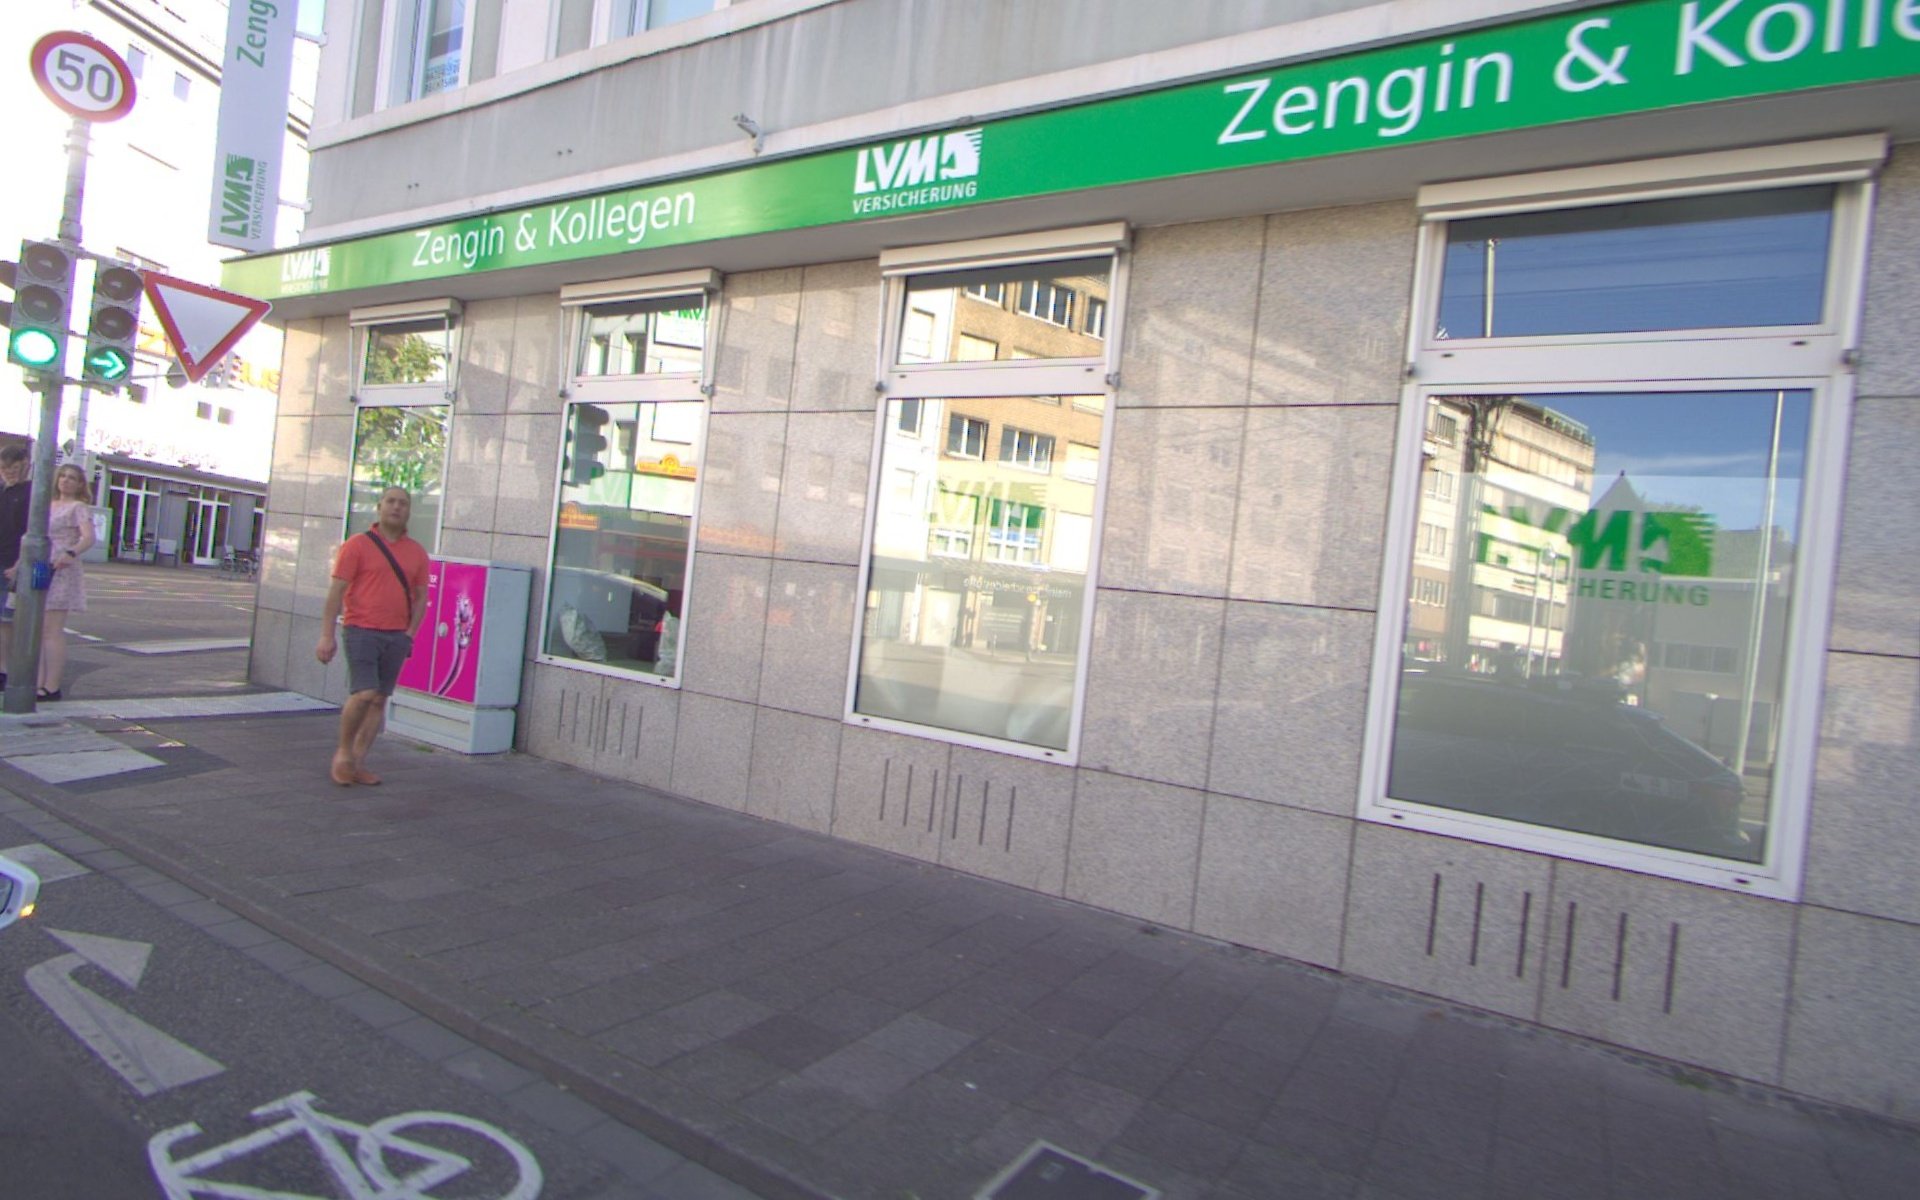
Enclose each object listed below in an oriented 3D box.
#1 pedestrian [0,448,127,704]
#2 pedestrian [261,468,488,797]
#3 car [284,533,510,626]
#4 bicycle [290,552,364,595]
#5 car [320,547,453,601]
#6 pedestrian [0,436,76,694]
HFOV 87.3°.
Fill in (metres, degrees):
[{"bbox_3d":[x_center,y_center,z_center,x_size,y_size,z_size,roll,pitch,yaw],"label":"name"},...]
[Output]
[{"bbox_3d":[-6.669,-0.174,7.391,0.638,1.782,0.573,6,1,31],"label":"pedestrian"},{"bbox_3d":[-3.395,0.163,5.836,0.897,1.725,0.690,6,1,33],"label":"pedestrian"},{"bbox_3d":[-11.294,-0.331,20.611,1.734,1.435,4.359,6,-2,6],"label":"car"},{"bbox_3d":[-22.855,-0.952,36.345,2.070,1.238,0.774,8,0,2],"label":"bicycle"},{"bbox_3d":[-19.297,-0.829,34.081,1.686,1.463,4.141,4,-1,8],"label":"car"},{"bbox_3d":[-7.208,-0.271,7.490,0.670,1.865,0.640,6,0,31],"label":"pedestrian"}]
